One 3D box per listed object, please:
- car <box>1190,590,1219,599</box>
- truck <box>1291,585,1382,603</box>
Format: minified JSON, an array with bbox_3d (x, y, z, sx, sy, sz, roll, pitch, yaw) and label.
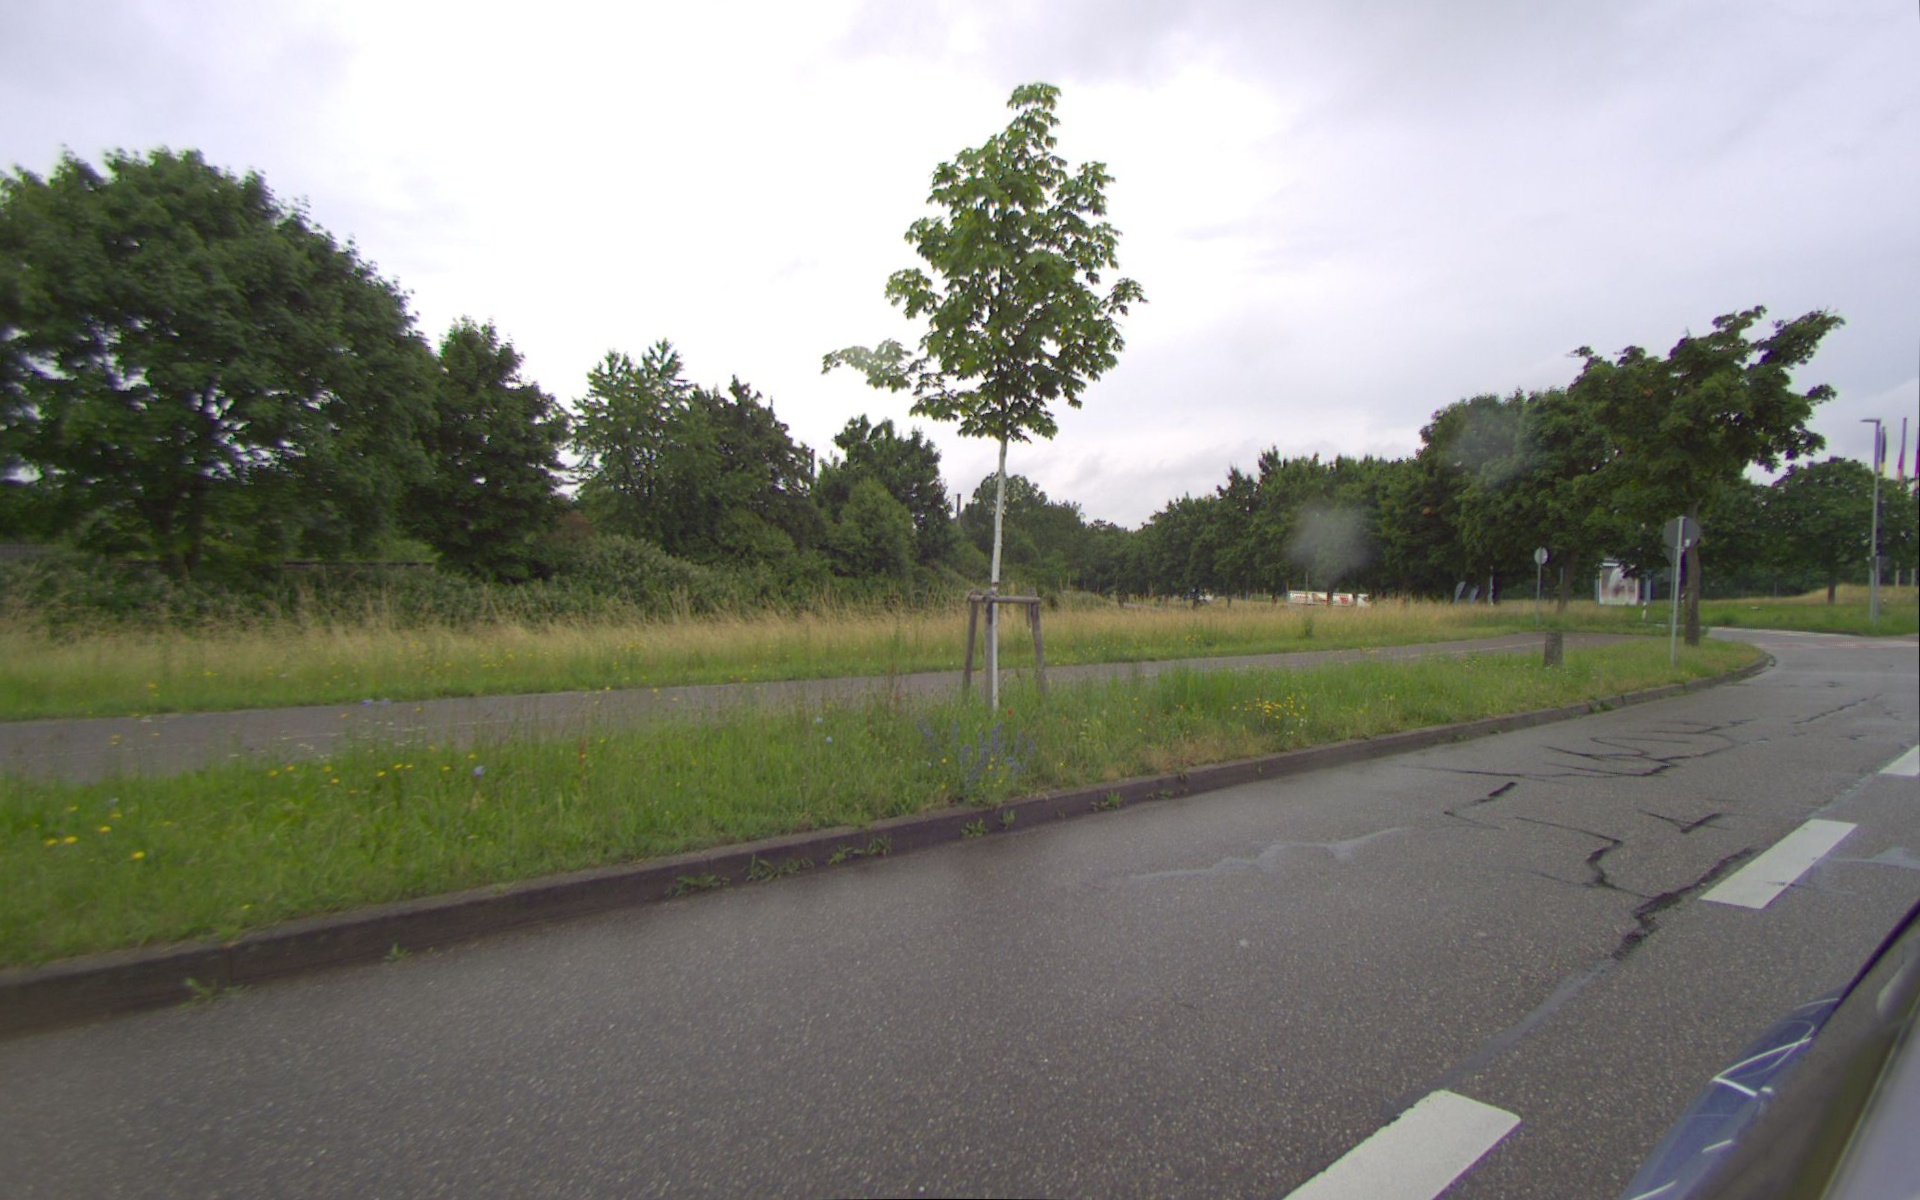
[{"bbox_3d":[49.755,-1.151,205.825,5.250,1.627,2.215,1,1,33],"label":"car"},{"bbox_3d":[66.062,-1.080,177.838,14.524,2.765,3.465,2,1,34],"label":"truck"}]
